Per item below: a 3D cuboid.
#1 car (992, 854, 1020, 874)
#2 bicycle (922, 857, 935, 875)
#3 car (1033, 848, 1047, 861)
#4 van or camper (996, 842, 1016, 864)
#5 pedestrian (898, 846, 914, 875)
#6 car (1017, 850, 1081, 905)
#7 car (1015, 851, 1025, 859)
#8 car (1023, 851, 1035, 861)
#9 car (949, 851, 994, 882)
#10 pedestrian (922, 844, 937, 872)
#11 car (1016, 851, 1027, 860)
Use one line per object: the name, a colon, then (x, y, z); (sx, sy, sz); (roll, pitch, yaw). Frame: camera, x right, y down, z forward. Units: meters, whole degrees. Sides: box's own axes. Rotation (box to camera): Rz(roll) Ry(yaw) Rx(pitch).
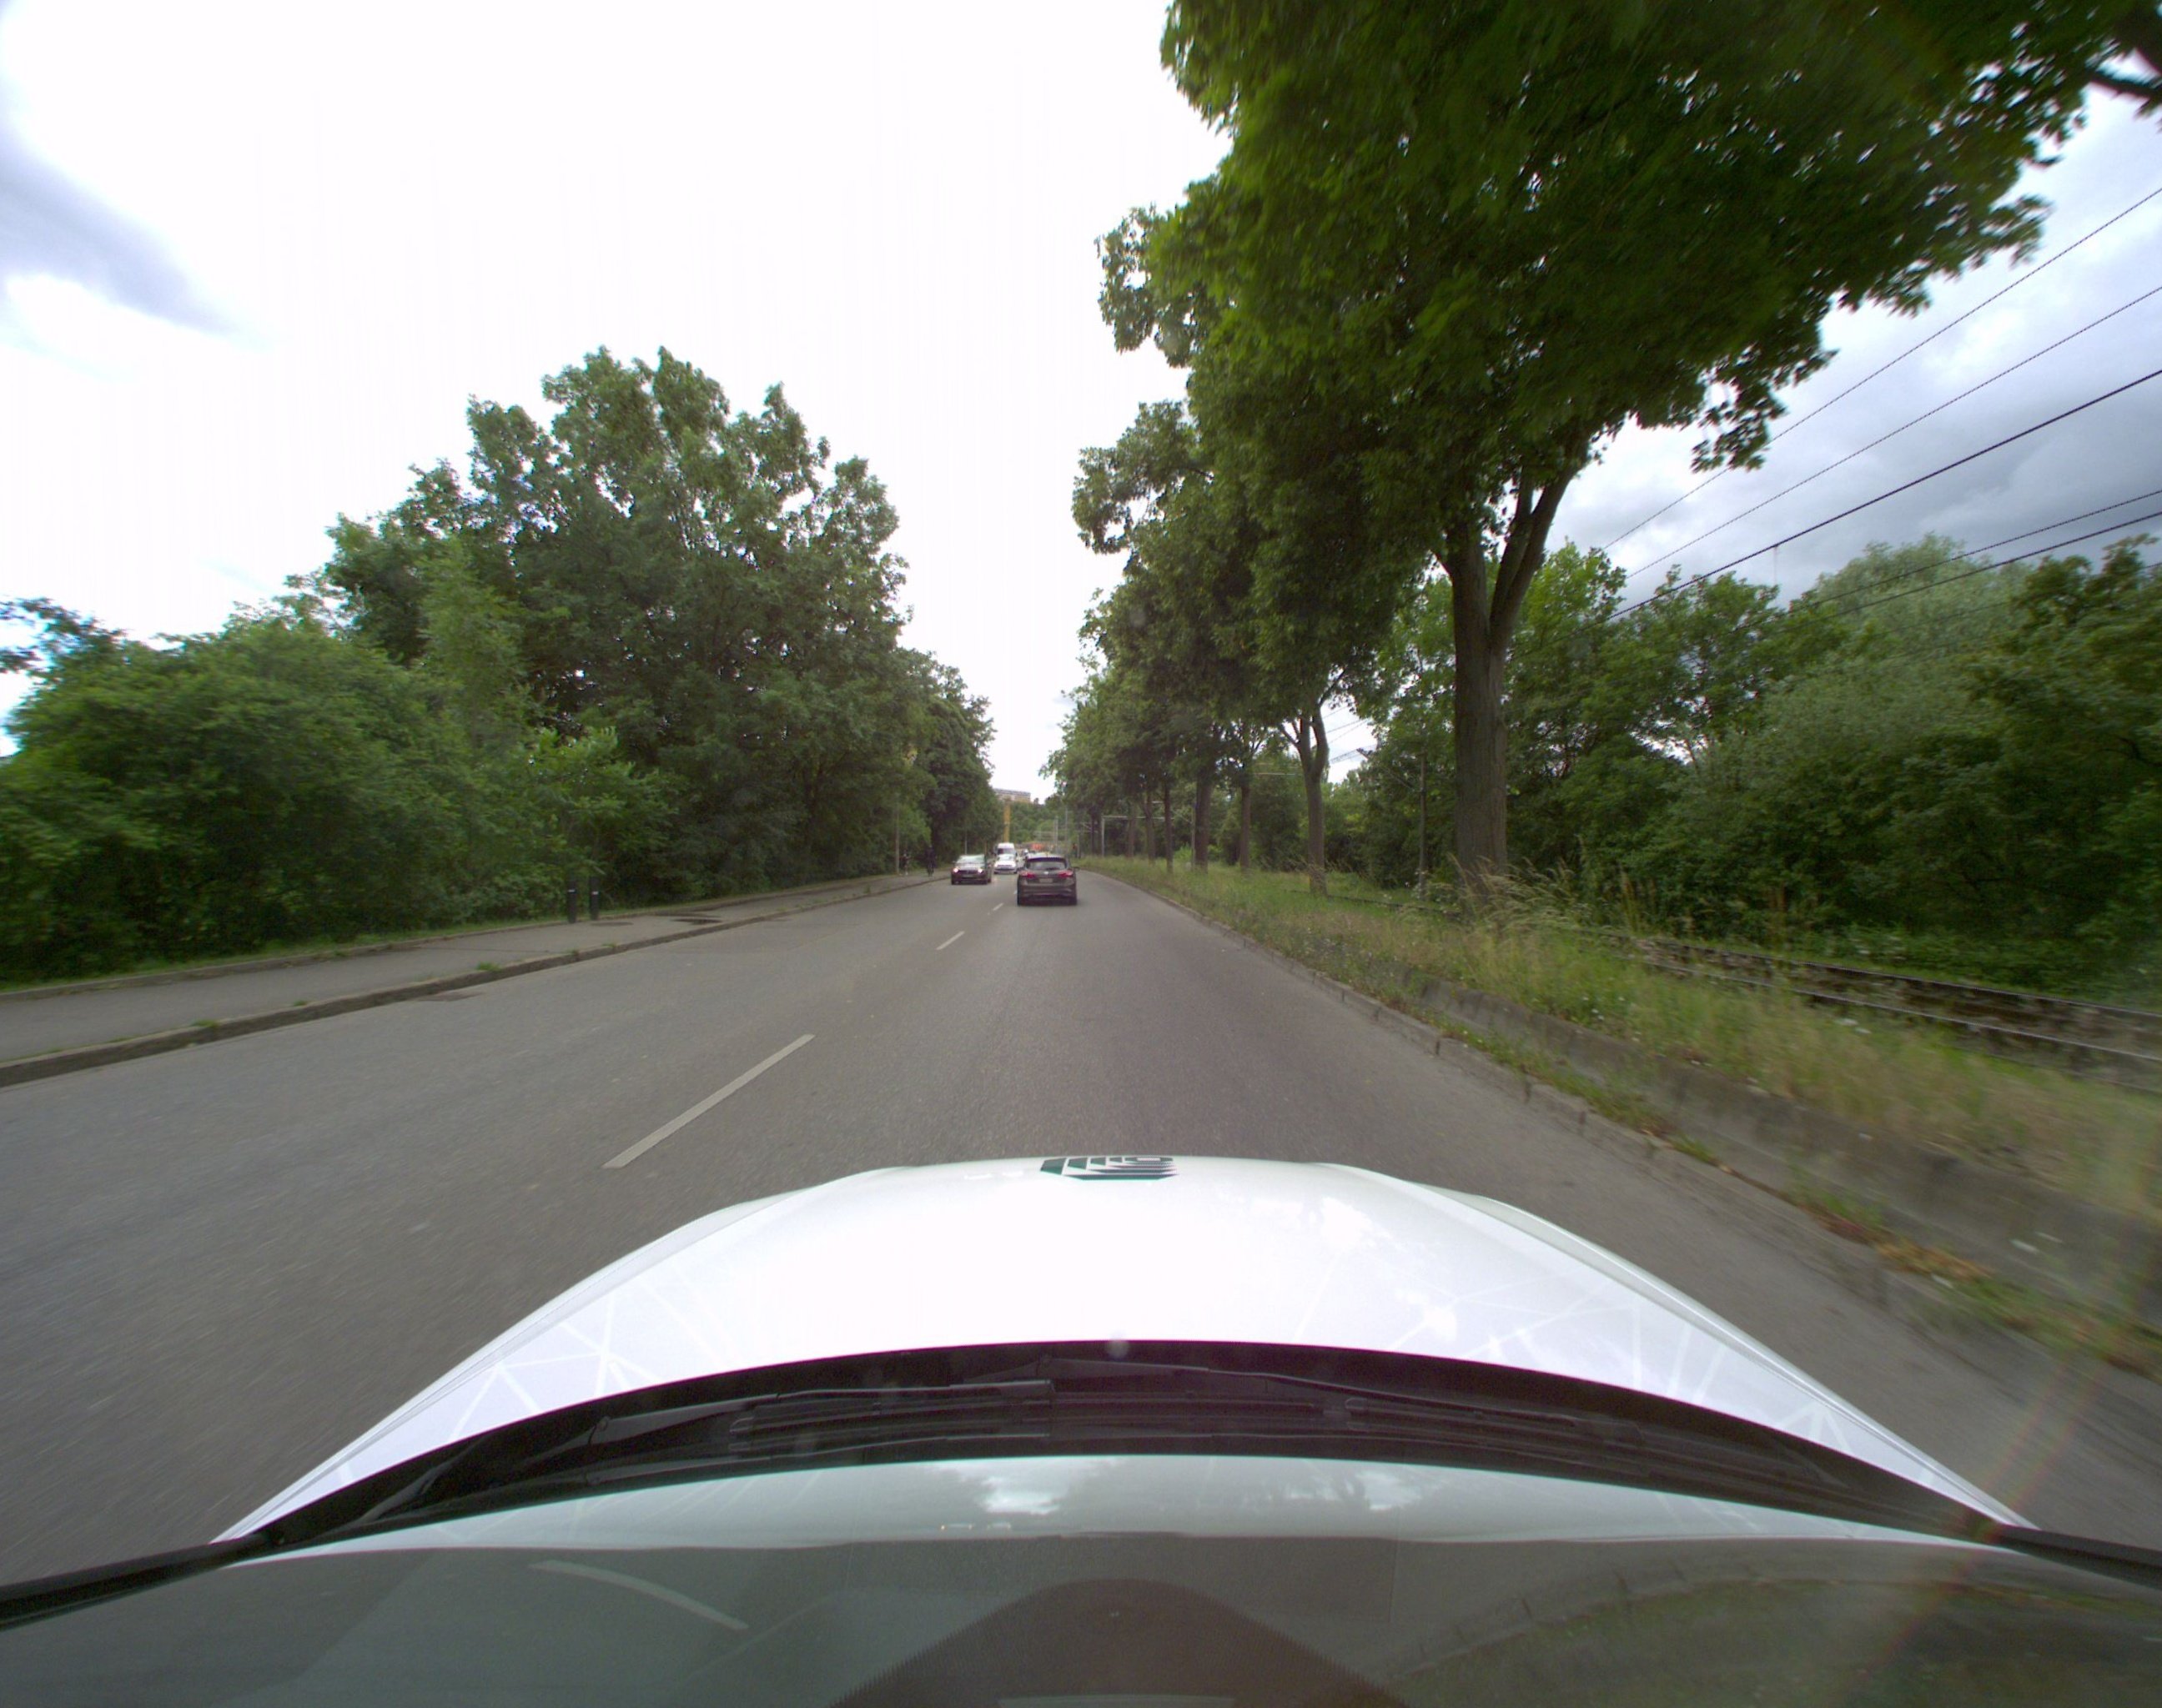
car: (-5.514, 0.690, 60.332); (1.719, 1.330, 3.475); (1, 1, 0)
bicycle: (-9.073, 0.702, 48.585); (0.486, 1.030, 1.125); (2, 1, 2)
car: (-5.264, 0.030, 105.413); (1.771, 1.472, 3.997); (2, 1, -2)
van or camper: (-7.687, -0.139, 83.679); (1.921, 2.151, 3.927); (2, 1, -4)
pedestrian: (-10.183, 0.385, 47.305); (0.693, 1.621, 0.684); (2, 1, 1)
car: (-1.030, 0.664, 25.281); (1.812, 1.508, 3.996); (0, 1, -3)
car: (-12.904, 0.140, 172.254); (1.770, 1.472, 3.999); (2, 1, -1)
car: (-8.568, 0.375, 134.875); (1.770, 1.472, 3.999); (2, 1, -1)
car: (-5.499, 0.613, 41.282); (1.744, 1.464, 3.919); (2, 0, 0)
pedestrian: (-9.030, 0.233, 48.537); (0.615, 1.571, 0.850); (2, 1, 1)
car: (-10.824, 0.291, 149.126); (1.770, 1.472, 3.999); (1, 1, -1)
